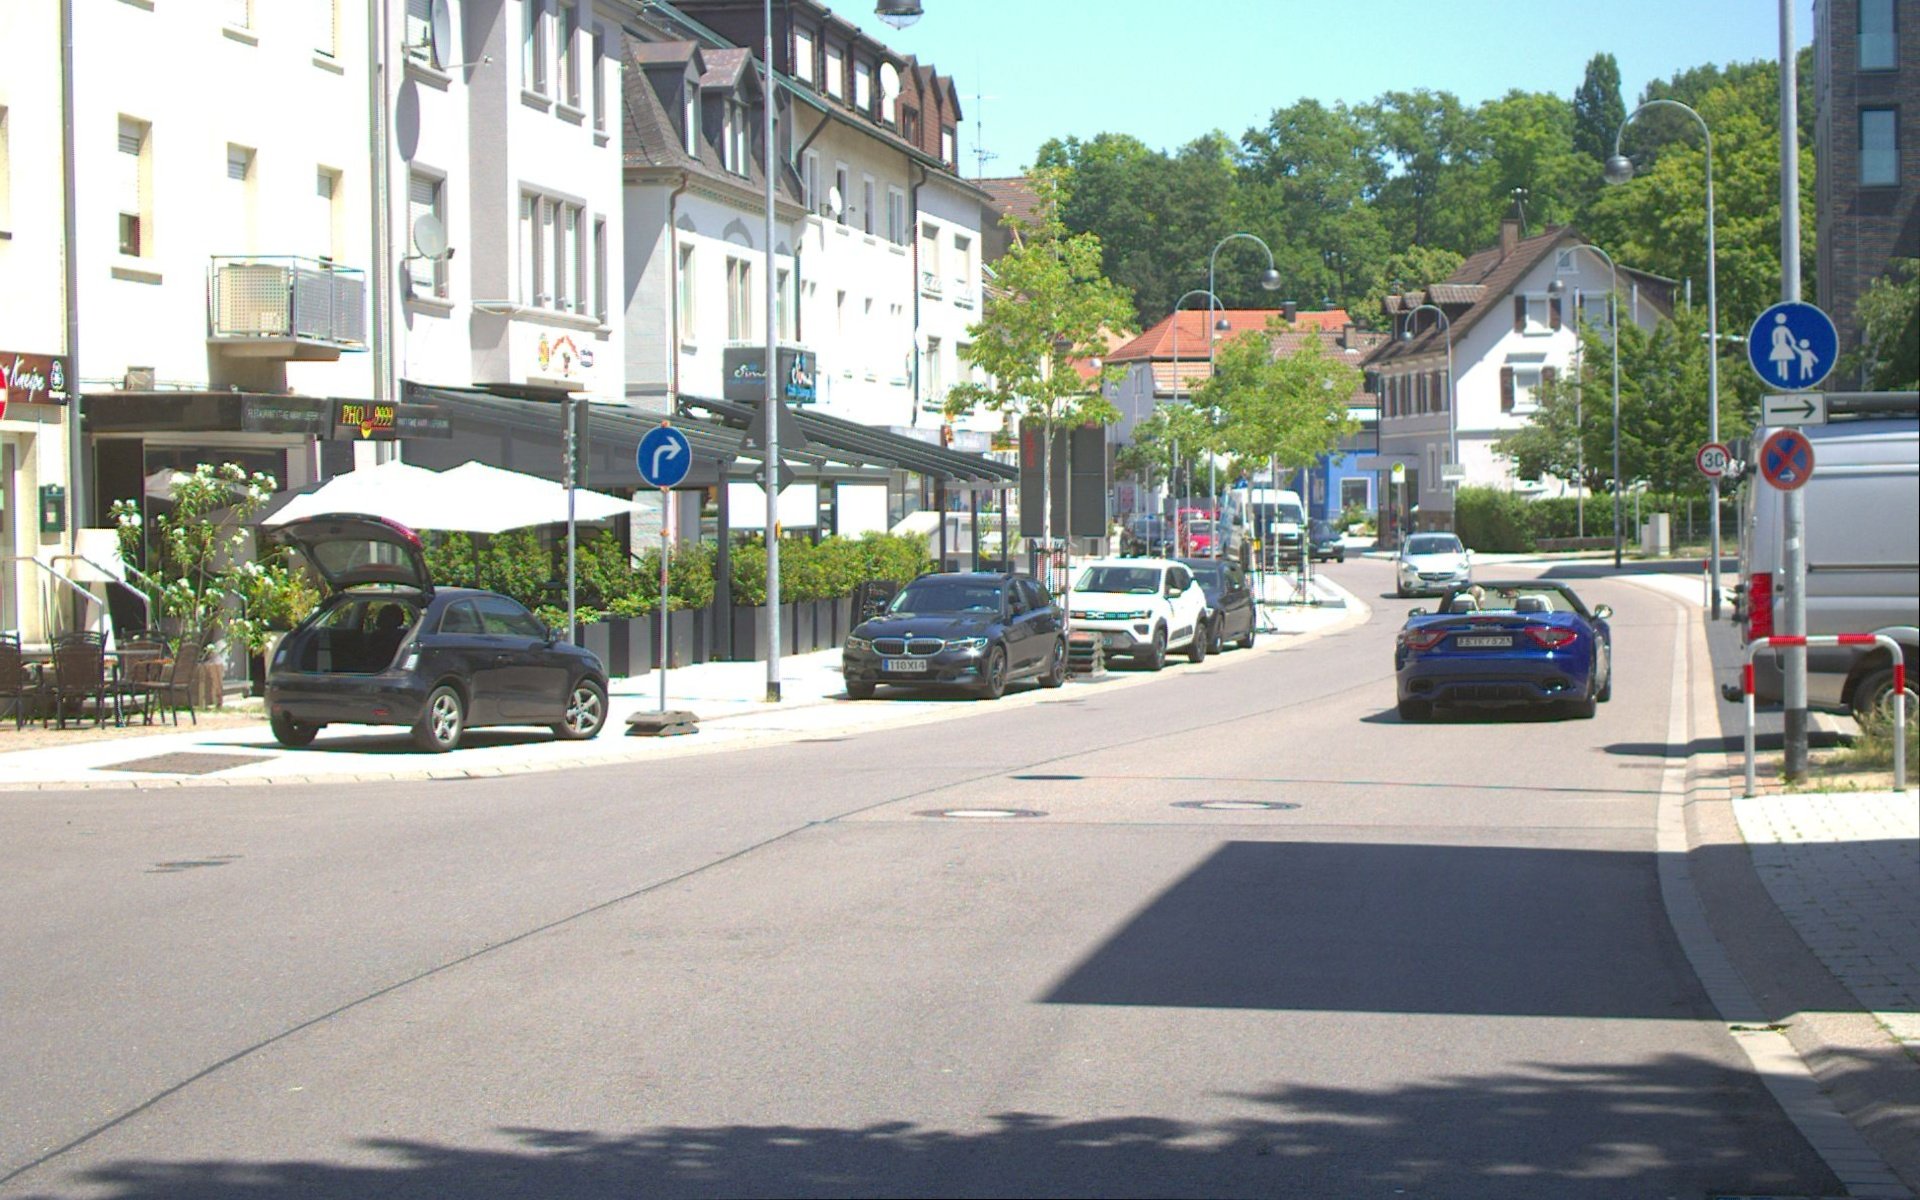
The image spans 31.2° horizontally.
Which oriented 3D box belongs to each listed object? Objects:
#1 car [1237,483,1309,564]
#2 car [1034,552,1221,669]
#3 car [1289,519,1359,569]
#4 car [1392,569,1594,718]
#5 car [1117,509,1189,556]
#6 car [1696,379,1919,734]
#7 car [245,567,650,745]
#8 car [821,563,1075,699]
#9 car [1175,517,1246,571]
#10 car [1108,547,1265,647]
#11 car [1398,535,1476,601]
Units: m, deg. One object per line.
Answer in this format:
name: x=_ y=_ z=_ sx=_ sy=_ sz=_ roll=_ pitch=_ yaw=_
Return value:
car: x=9.490 y=-2.332 z=104.506 sx=1.867 sy=2.392 sz=4.818 roll=-1 pitch=1 yaw=2
car: x=2.415 y=0.114 z=48.643 sx=1.646 sy=1.474 sz=3.937 roll=2 pitch=2 yaw=18
car: x=12.372 y=-1.915 z=116.990 sx=1.661 sy=1.601 sz=4.001 roll=-2 pitch=1 yaw=-3
car: x=5.374 y=0.392 z=34.610 sx=1.871 sy=1.337 sz=4.594 roll=0 pitch=1 yaw=9
car: x=7.058 y=-2.482 z=126.063 sx=1.993 sy=1.686 sz=4.001 roll=0 pitch=2 yaw=-7
car: x=8.877 y=-0.362 z=27.150 sx=5.943 sy=2.723 sz=2.195 roll=0 pitch=1 yaw=13
car: x=-4.580 y=0.456 z=31.340 sx=1.714 sy=1.455 sz=4.125 roll=2 pitch=1 yaw=23
car: x=-0.068 y=0.328 z=41.401 sx=1.835 sy=1.424 sz=4.779 roll=1 pitch=2 yaw=15
car: x=8.279 y=-1.854 z=113.723 sx=1.993 sy=1.732 sz=4.000 roll=-1 pitch=1 yaw=0
car: x=3.598 y=-0.075 z=53.959 sx=1.671 sy=1.438 sz=4.007 roll=0 pitch=2 yaw=15
car: x=11.413 y=-0.784 z=82.084 sx=1.687 sy=1.453 sz=4.057 roll=-2 pitch=1 yaw=9
